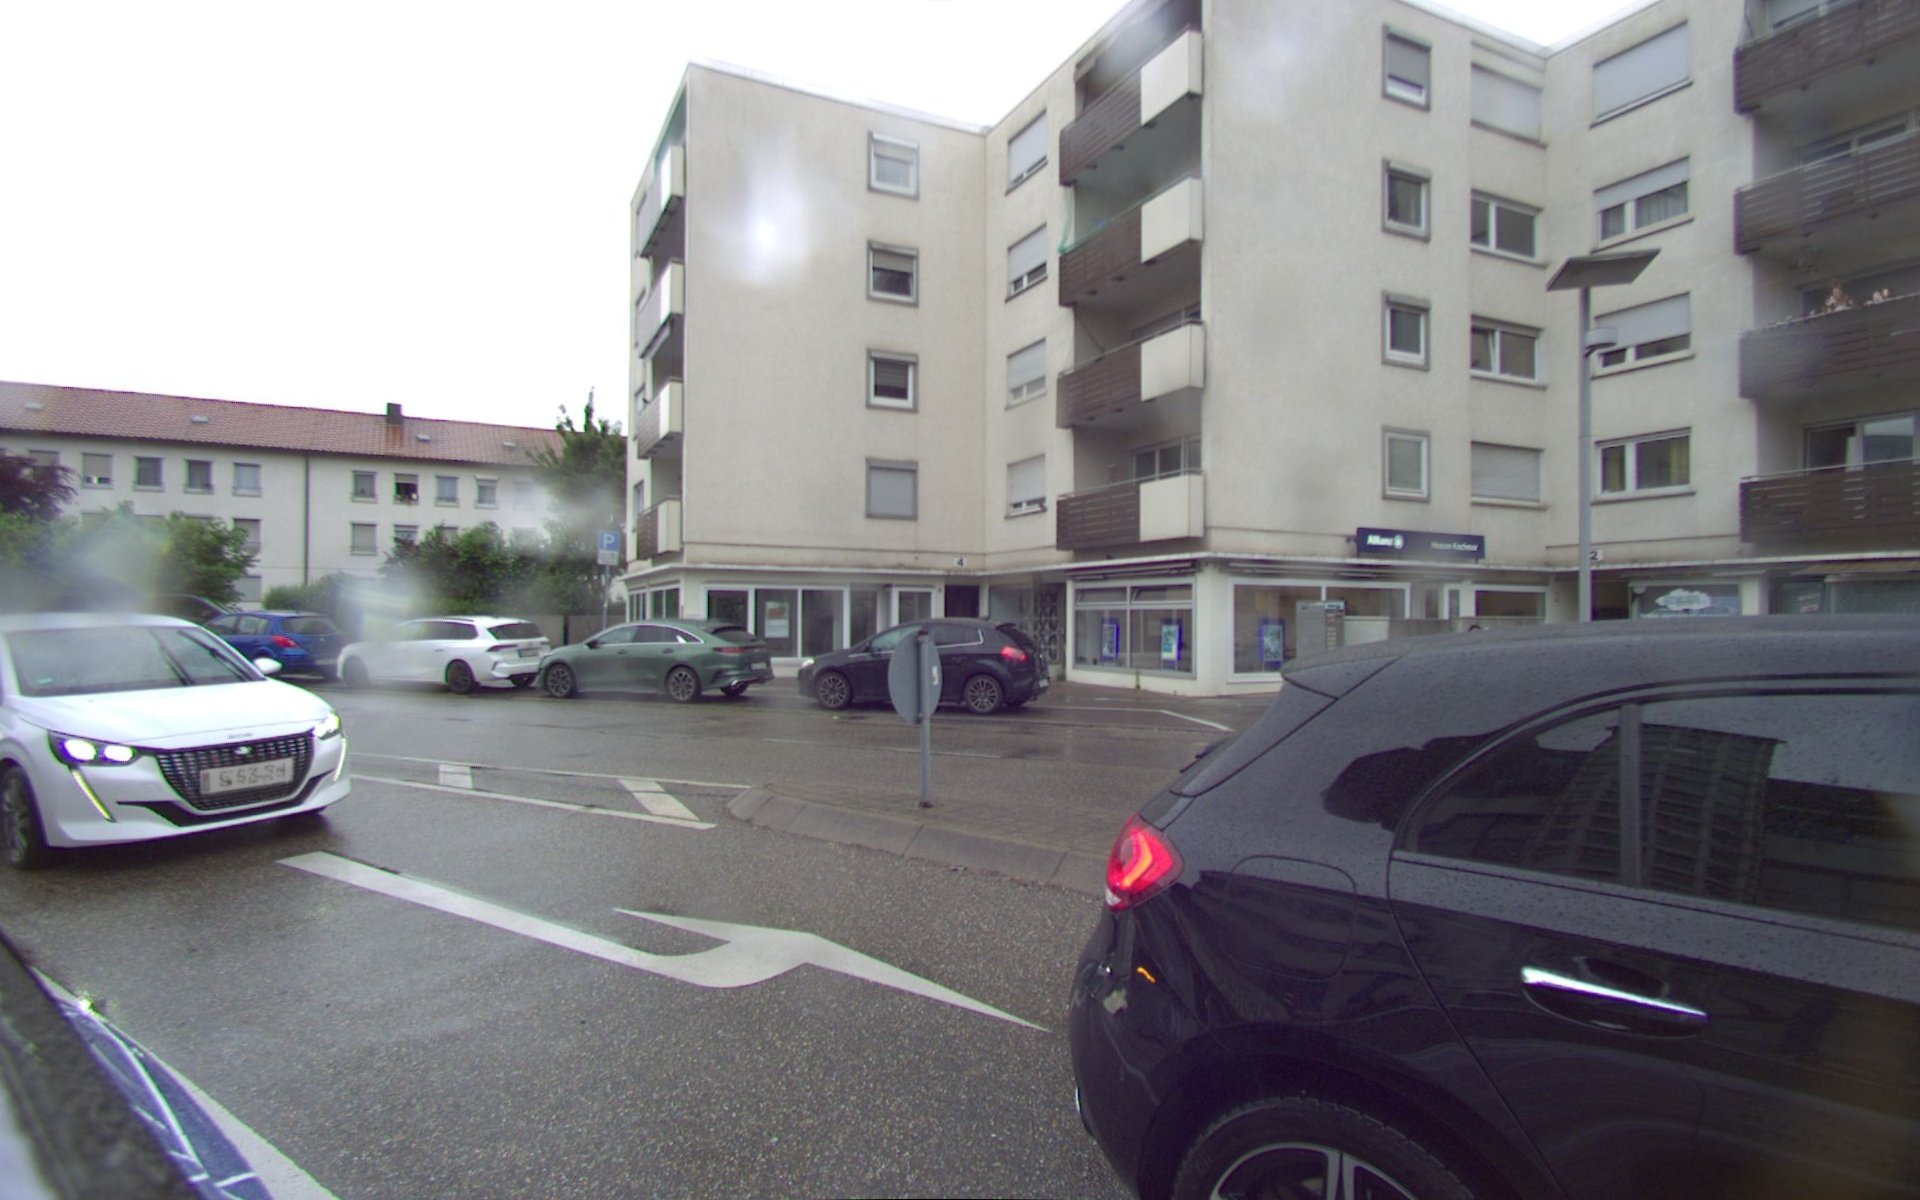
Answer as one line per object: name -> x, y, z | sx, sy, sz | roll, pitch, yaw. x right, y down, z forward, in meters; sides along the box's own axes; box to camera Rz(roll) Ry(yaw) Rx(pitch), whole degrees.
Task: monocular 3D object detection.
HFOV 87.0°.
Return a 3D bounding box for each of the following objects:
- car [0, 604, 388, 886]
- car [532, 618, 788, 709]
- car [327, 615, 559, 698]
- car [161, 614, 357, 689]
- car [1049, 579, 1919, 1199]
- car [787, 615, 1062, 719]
car -> -5.911, 0.777, 6.901 | 3.879, 1.420, 1.727 | -1, 0, 29
car -> -5.456, 1.082, 18.453 | 4.241, 1.445, 1.826 | 0, 0, 19
car -> -10.338, 1.072, 20.236 | 4.313, 1.511, 1.627 | 0, -1, 20
car -> -15.418, 1.076, 22.269 | 3.852, 1.517, 1.623 | 0, -1, 20
car -> 2.274, 0.690, 1.246 | 4.090, 1.492, 1.646 | -2, -1, 40
car -> -0.564, 1.016, 16.559 | 4.156, 1.471, 1.825 | 0, 0, 20
